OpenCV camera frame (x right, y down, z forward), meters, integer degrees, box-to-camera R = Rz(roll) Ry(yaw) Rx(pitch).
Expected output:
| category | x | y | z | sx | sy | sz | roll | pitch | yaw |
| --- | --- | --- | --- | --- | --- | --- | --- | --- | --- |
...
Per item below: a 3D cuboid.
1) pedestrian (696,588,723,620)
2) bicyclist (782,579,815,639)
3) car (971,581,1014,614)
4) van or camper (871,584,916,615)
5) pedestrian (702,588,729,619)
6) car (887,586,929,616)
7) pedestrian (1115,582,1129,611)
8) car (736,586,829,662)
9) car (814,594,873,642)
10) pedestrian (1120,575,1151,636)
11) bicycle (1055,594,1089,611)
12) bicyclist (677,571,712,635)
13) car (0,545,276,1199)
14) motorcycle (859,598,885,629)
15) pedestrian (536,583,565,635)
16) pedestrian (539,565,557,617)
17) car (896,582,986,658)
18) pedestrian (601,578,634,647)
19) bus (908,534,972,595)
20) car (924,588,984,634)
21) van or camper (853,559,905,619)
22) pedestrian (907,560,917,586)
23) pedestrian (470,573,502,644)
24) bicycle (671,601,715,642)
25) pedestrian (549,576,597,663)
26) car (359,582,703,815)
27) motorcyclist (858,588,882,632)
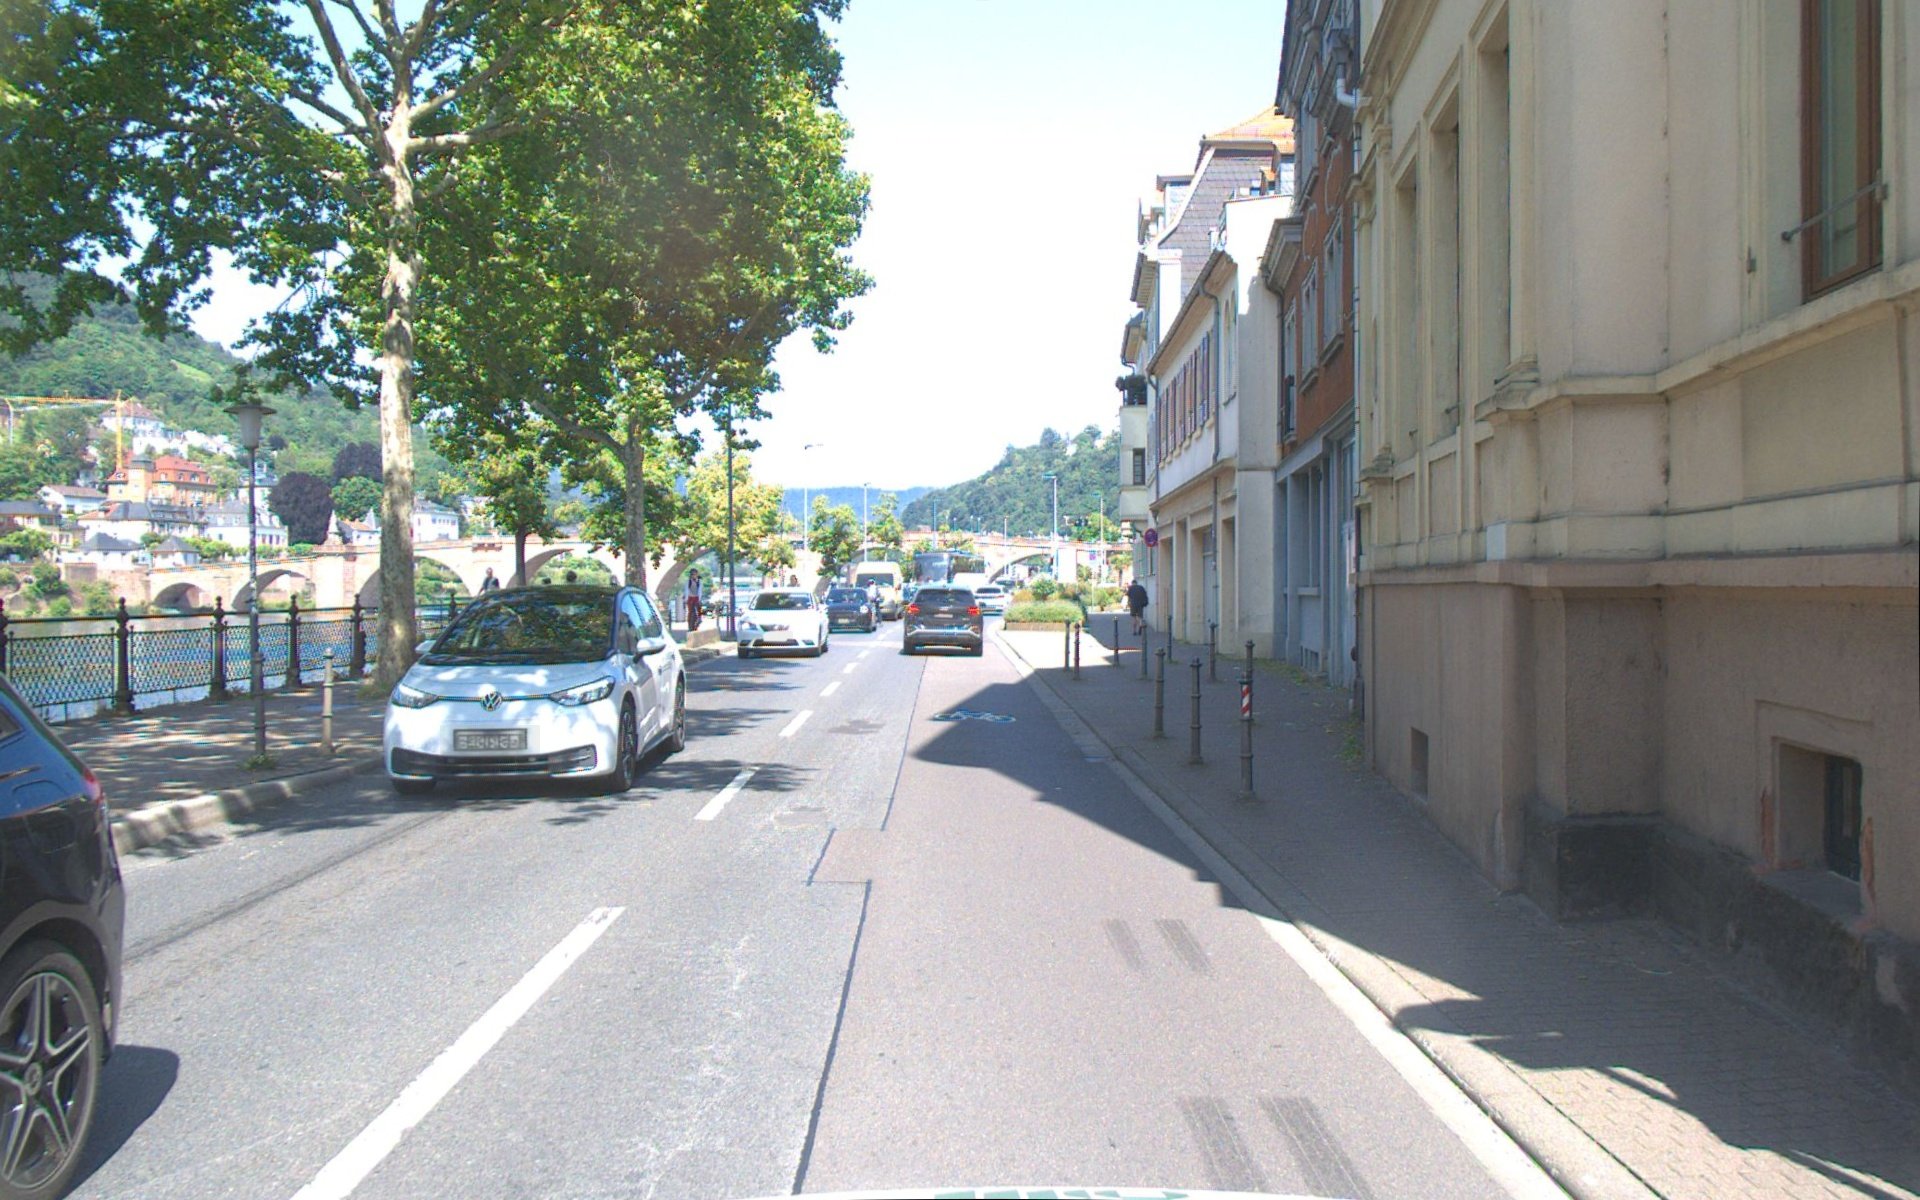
| category | x | y | z | sx | sy | sz | roll | pitch | yaw |
| --- | --- | --- | --- | --- | --- | --- | --- | --- | --- |
| pedestrian | -10.476 | 0.157 | 69.278 | 0.916 | 1.303 | 0.850 | 0 | 0 | 7 |
| bicyclist | -4.371 | 0.242 | 44.705 | 0.751 | 1.558 | 1.025 | 1 | 2 | 1 |
| car | 1.669 | -0.136 | 83.087 | 1.886 | 1.580 | 4.834 | -1 | 1 | 4 |
| van or camper | -3.282 | -0.021 | 82.758 | 1.952 | 1.480 | 4.683 | -1 | 0 | 1 |
| pedestrian | -10.360 | 0.152 | 70.184 | 0.916 | 1.303 | 0.850 | 0 | 0 | 7 |
| car | -2.769 | 0.048 | 89.332 | 1.775 | 1.453 | 4.313 | -2 | 1 | 4 |
| pedestrian | 9.195 | -0.183 | 93.864 | 0.745 | 1.623 | 0.696 | 0 | 0 | 7 |
| car | -3.798 | 0.475 | 35.927 | 1.667 | 1.470 | 4.091 | 1 | 2 | -2 |
| car | -3.780 | 0.560 | 54.153 | 1.666 | 1.483 | 4.001 | -1 | 0 | -1 |
| pedestrian | 5.123 | 0.152 | 48.288 | 0.746 | 1.743 | 0.696 | -3 | 0 | 2 |
| bicycle | 6.072 | 0.142 | 89.751 | 1.772 | 0.893 | 0.502 | 2 | 1 | 3 |
| bicyclist | -6.813 | 0.072 | 42.450 | 0.704 | 1.611 | 1.089 | 0 | 0 | 1 |
| car | -2.858 | 0.697 | 2.596 | 1.666 | 1.544 | 4.404 | -3 | 0 | 0 |
| motorcycle | -3.281 | 0.476 | 61.660 | 0.866 | 1.096 | 2.326 | -1 | 1 | -5 |
| pedestrian | -13.004 | 0.277 | 52.507 | 0.679 | 1.644 | 0.664 | 0 | 0 | 6 |
| pedestrian | -12.893 | -0.274 | 51.783 | 0.406 | 1.625 | 0.451 | 0 | 0 | 6 |
| car | -0.440 | 0.431 | 37.560 | 1.887 | 1.580 | 4.831 | 1 | 0 | -1 |
| pedestrian | -8.614 | 0.312 | 41.560 | 0.643 | 1.712 | 0.758 | 2 | 0 | -2 |
| bus | -1.166 | -2.160 | 106.957 | 2.575 | 3.626 | 12.992 | 0 | 0 | 6 |
| car | -0.173 | 0.332 | 56.743 | 1.886 | 1.486 | 4.833 | 0 | 1 | 2 |
| van or camper | -3.628 | -0.500 | 75.281 | 2.044 | 2.601 | 7.091 | 0 | 0 | 0 |
| pedestrian | -3.416 | -1.917 | 117.938 | 0.607 | 1.811 | 0.662 | 0 | 0 | 7 |
| pedestrian | -13.473 | 0.242 | 47.040 | 0.679 | 1.979 | 0.886 | 0 | 0 | -2 |
| bicycle | -6.817 | 0.534 | 42.359 | 0.739 | 0.996 | 1.954 | 0 | 1 | 2 |
| pedestrian | -7.316 | 0.358 | 31.297 | 0.746 | 1.614 | 0.695 | 0 | 0 | -2 |
| car | -3.323 | 0.658 | 13.700 | 1.700 | 1.544 | 4.404 | -1 | 1 | -1 |
| motorcyclist | -3.346 | 0.361 | 61.777 | 0.861 | 1.611 | 1.024 | 0 | 0 | -2 |
